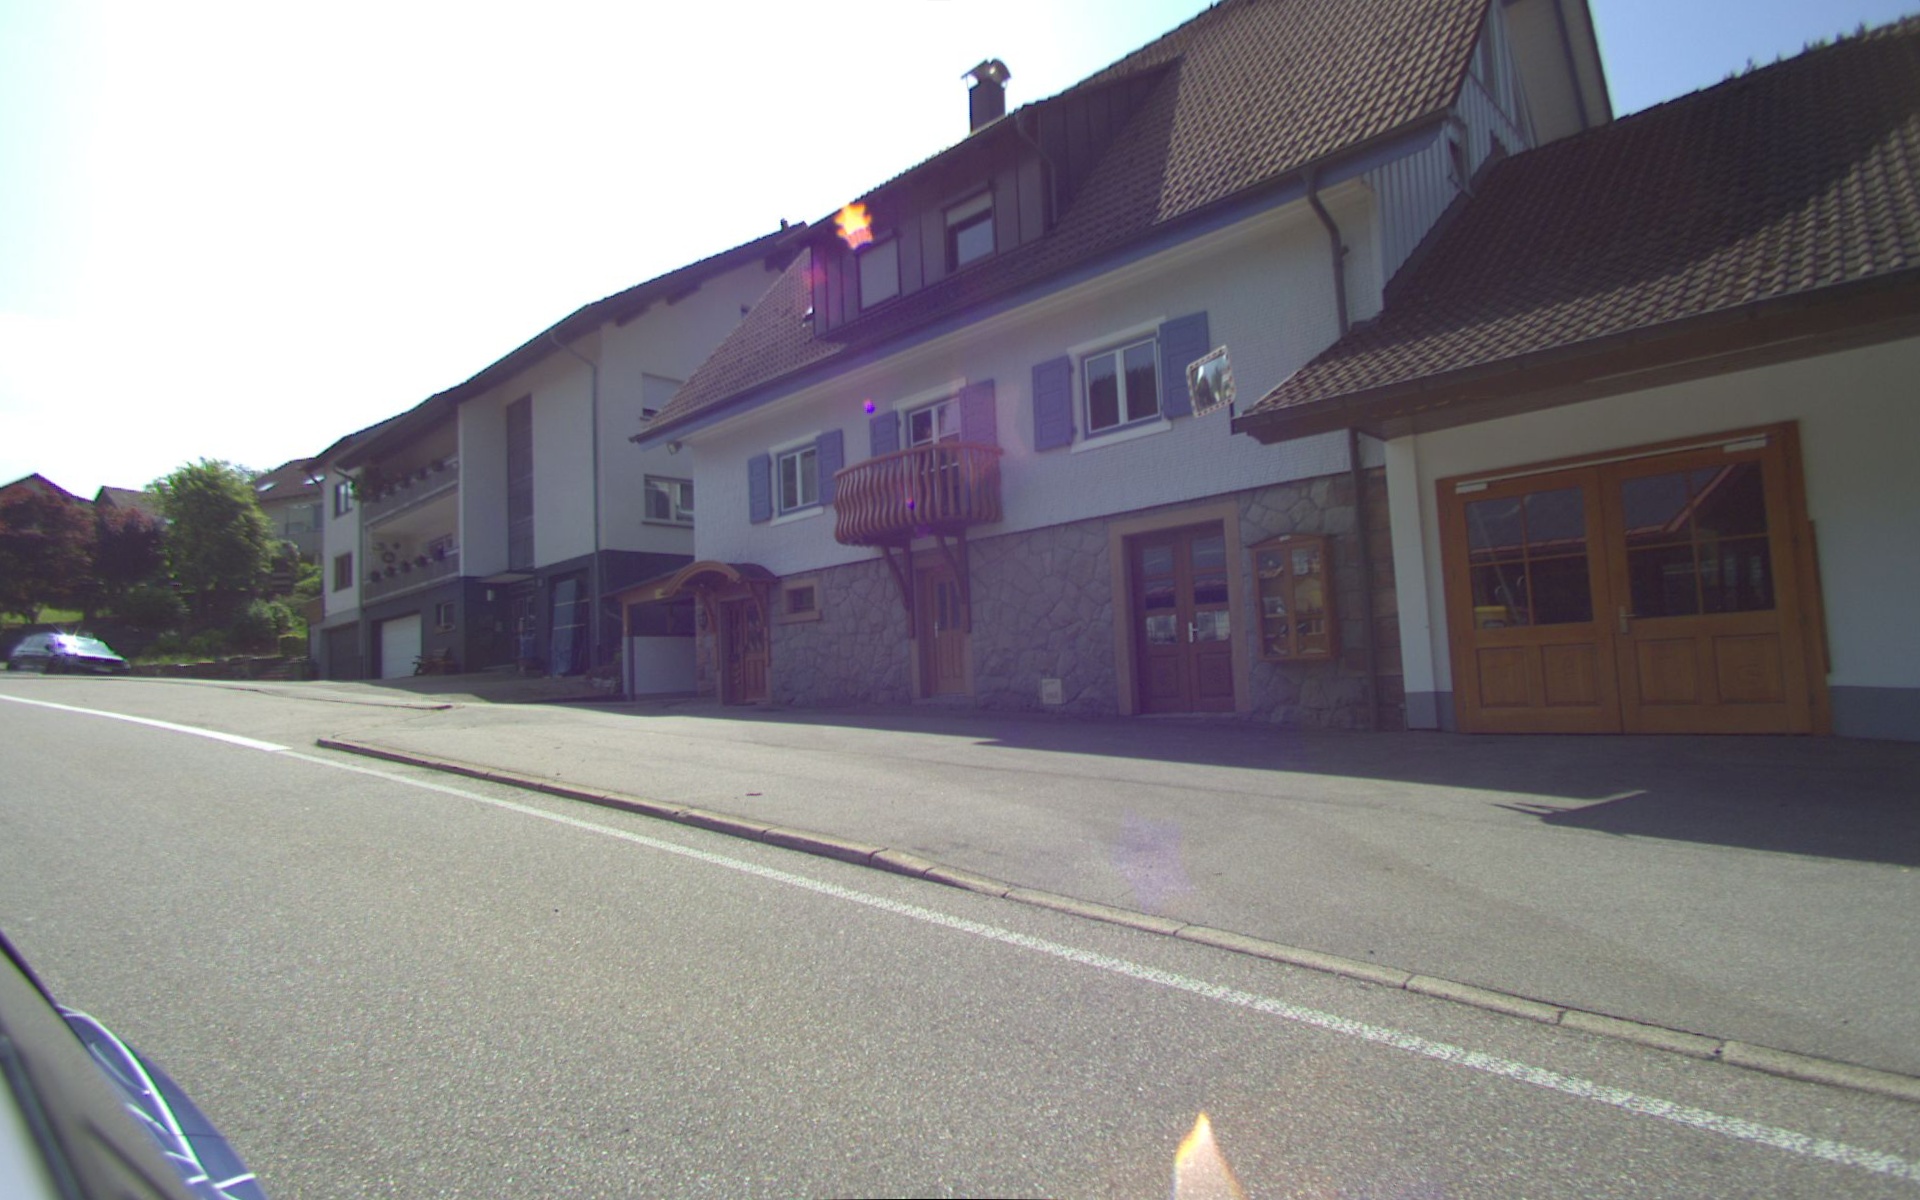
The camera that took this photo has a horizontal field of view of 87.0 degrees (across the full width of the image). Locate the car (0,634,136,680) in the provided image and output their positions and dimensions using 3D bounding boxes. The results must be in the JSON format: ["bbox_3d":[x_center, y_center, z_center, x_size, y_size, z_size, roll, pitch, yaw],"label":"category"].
[{"bbox_3d":[-27.846,1.737,31.508,4.675,1.349,1.770,-1,-3,29],"label":"car"}]
